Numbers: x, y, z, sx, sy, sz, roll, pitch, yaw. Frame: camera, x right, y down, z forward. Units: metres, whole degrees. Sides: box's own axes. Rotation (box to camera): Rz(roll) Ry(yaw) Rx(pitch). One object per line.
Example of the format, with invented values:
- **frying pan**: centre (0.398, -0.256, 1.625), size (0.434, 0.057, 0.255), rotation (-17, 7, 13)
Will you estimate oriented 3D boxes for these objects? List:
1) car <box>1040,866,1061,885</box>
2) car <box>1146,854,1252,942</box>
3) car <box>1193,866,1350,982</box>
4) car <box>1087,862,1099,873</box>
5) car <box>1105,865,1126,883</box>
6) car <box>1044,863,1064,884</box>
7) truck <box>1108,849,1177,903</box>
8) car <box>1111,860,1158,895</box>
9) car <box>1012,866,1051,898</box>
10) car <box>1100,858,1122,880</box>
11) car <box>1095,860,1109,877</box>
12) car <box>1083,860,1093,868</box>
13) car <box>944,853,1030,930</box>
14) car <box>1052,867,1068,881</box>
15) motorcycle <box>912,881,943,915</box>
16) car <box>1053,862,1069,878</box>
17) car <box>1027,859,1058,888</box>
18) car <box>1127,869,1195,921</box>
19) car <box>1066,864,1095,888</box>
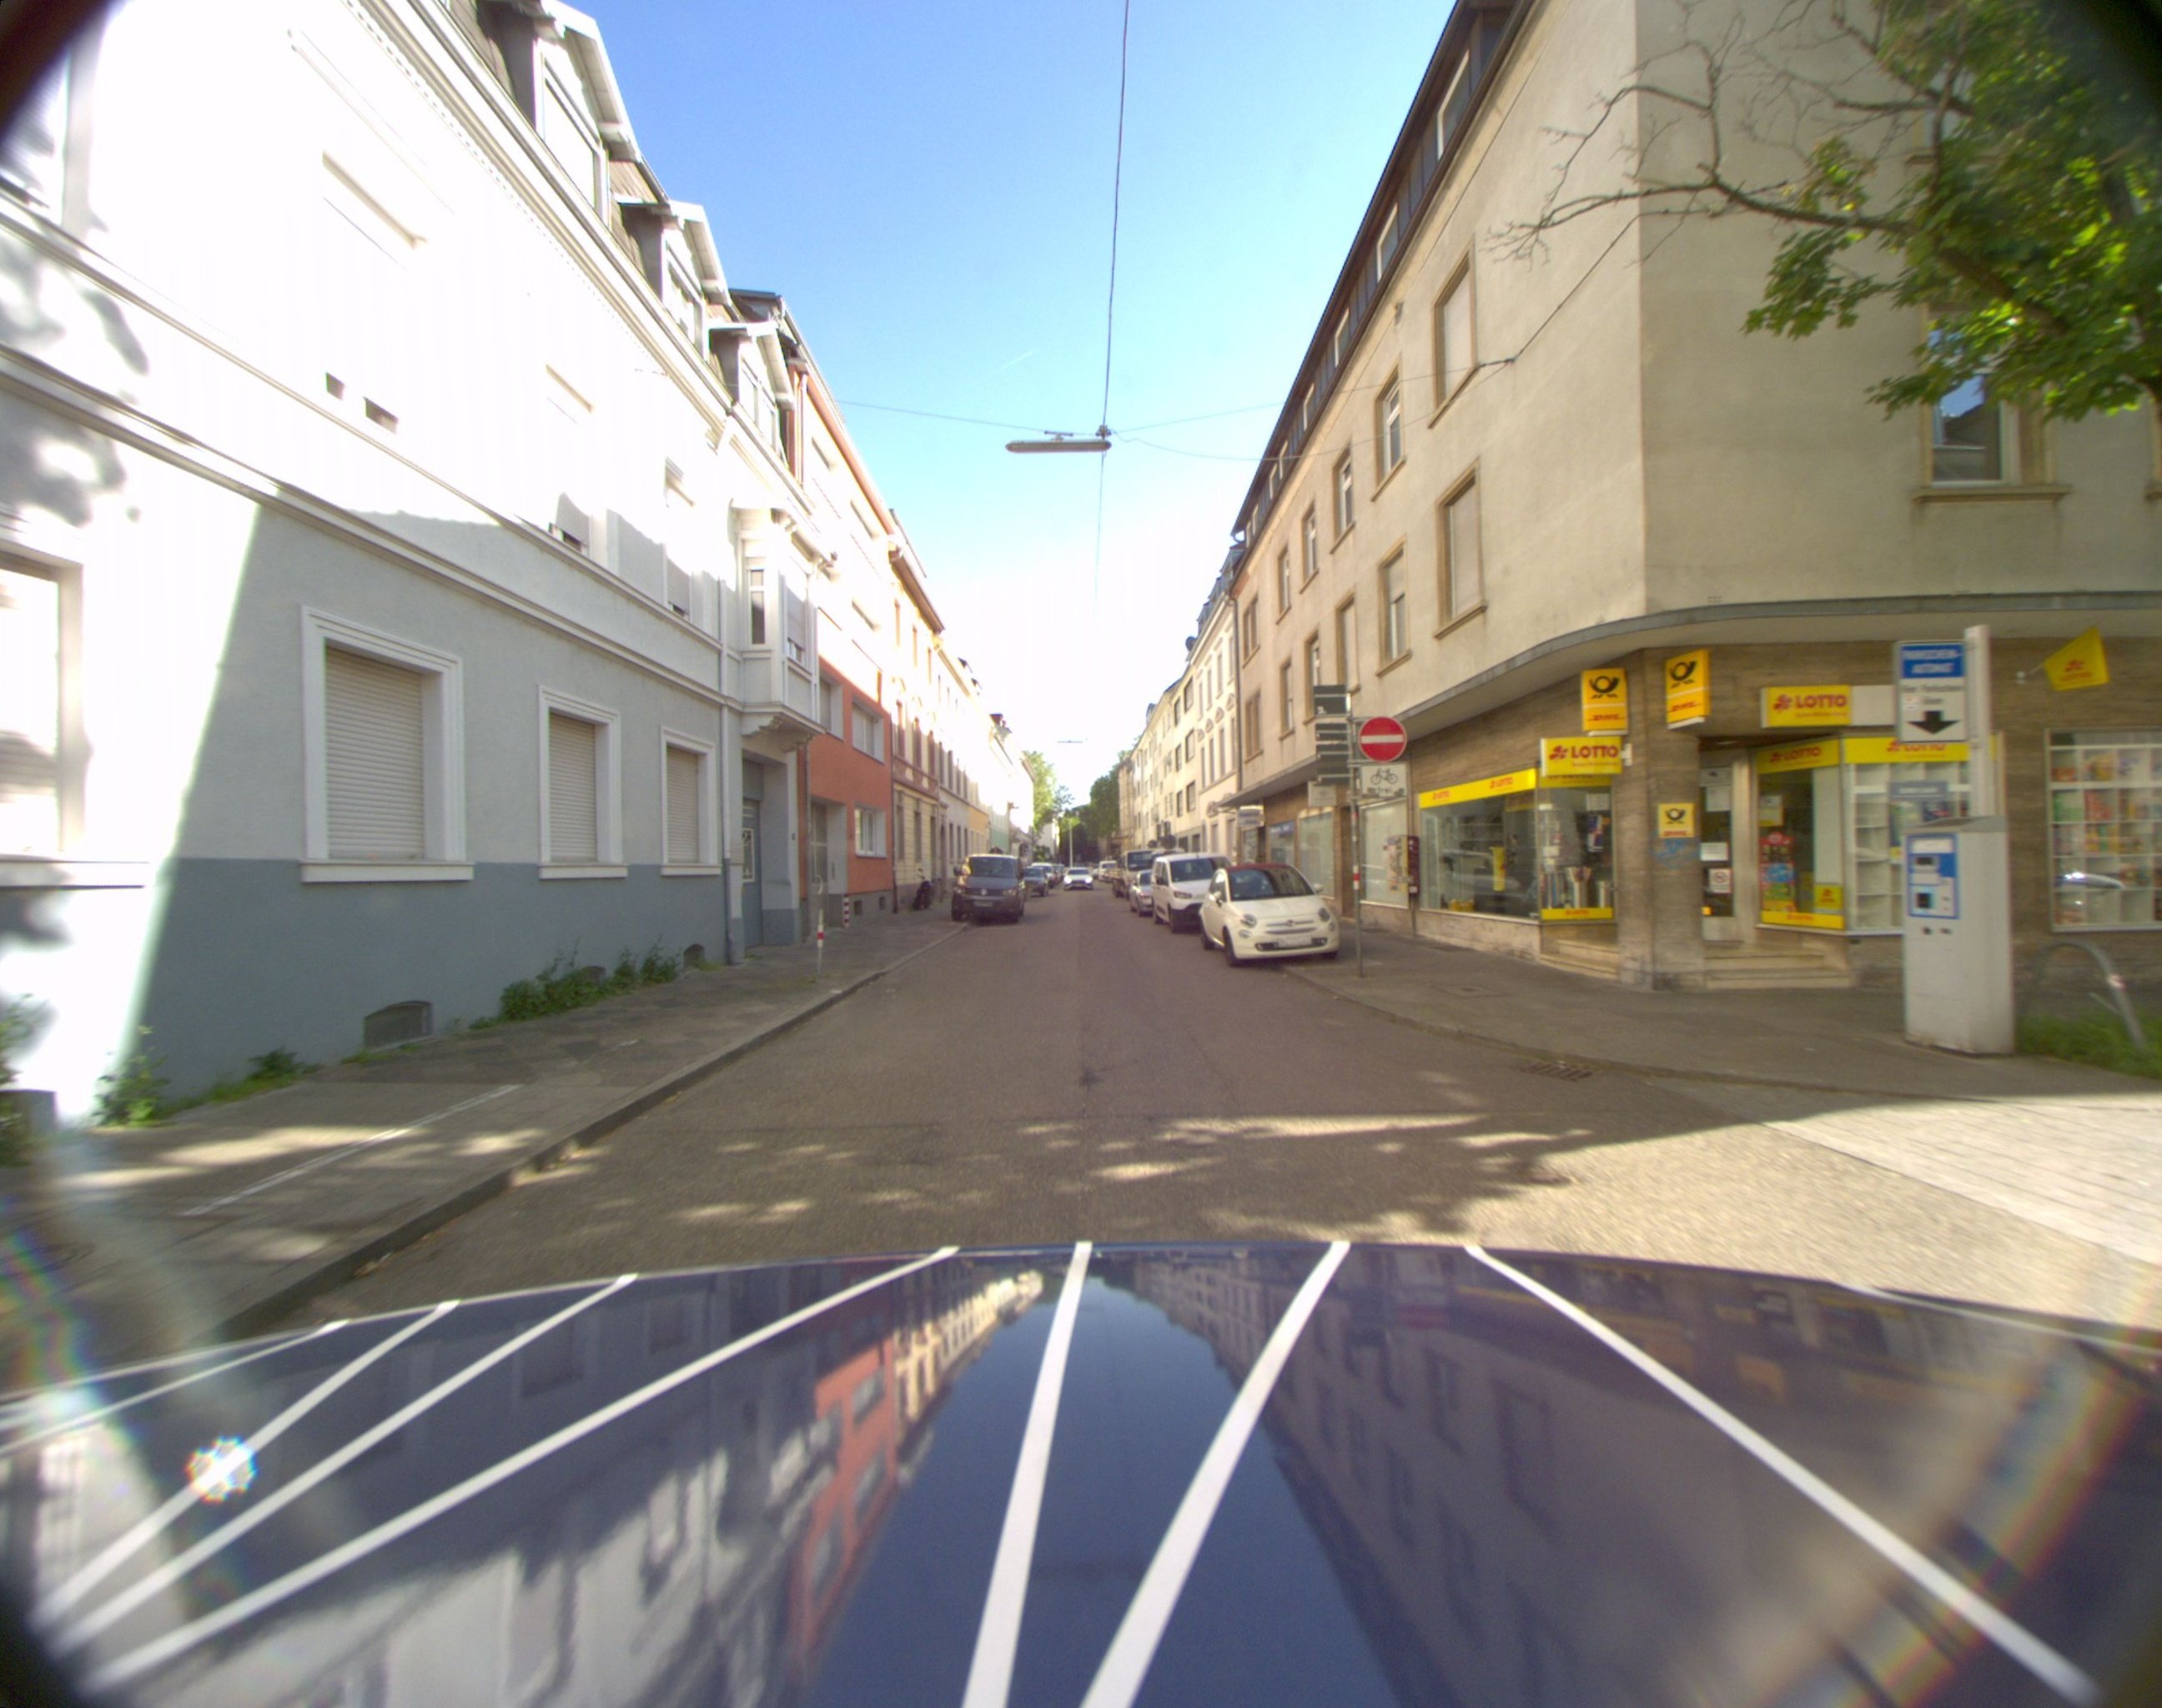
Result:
- **car**: centre (-2.503, 1.778, 63.225), size (1.578, 1.459, 3.870), rotation (-1, -2, 0)
- **car**: centre (2.739, 0.986, 18.684), size (1.771, 1.887, 4.809), rotation (0, -1, -1)
- **car**: centre (2.929, 1.005, 12.465), size (1.671, 1.551, 3.722), rotation (-1, 0, 1)
- **car**: centre (1.909, 2.230, 123.292), size (1.786, 1.674, 4.022), rotation (-1, 0, 0)
- **car**: centre (3.069, 1.728, 67.442), size (1.731, 1.483, 4.115), rotation (-2, -1, 2)
- **car**: centre (-2.412, 1.741, 68.924), size (1.604, 1.772, 3.760), rotation (-1, -1, 0)
- **truck**: centre (2.775, 0.949, 36.054), size (2.171, 2.295, 6.345), rotation (0, 0, -5)
- **car**: centre (3.054, 1.306, 44.345), size (1.918, 1.871, 5.183), rotation (1, 0, -5)
- **car**: centre (-2.609, 1.472, 40.836), size (1.745, 1.533, 4.051), rotation (-1, 0, 0)
- **car**: centre (2.879, 1.427, 73.950), size (1.913, 2.076, 4.697), rotation (-1, 0, 0)
- **car**: centre (2.617, 1.785, 93.645), size (1.585, 1.970, 4.068), rotation (-1, 0, 0)
- **car**: centre (1.474, 2.114, 162.994), size (1.985, 1.674, 4.022), rotation (-1, 0, 0)
- **car**: centre (-2.721, 1.046, 23.164), size (1.975, 2.016, 4.899), rotation (-3, 0, -1)
- **car**: centre (-2.330, 2.226, 84.567), size (1.588, 1.408, 3.557), rotation (-1, 0, 0)
- **motorcycle**: centre (-5.266, 1.497, 26.211), size (0.638, 1.038, 2.363), rotation (-1, 0, -1)
- **car**: centre (-2.530, 1.980, 95.929), size (1.786, 1.867, 4.022), rotation (-1, 0, 0)
- **car**: centre (-2.684, 1.353, 53.945), size (1.898, 1.875, 4.458), rotation (-1, 0, 0)
- **car**: centre (2.504, 1.254, 24.685), size (1.669, 1.514, 4.489), rotation (0, -1, -1)
- **car**: centre (-0.003, 1.392, 48.834), size (1.761, 1.399, 4.022), rotation (-1, 0, 0)
